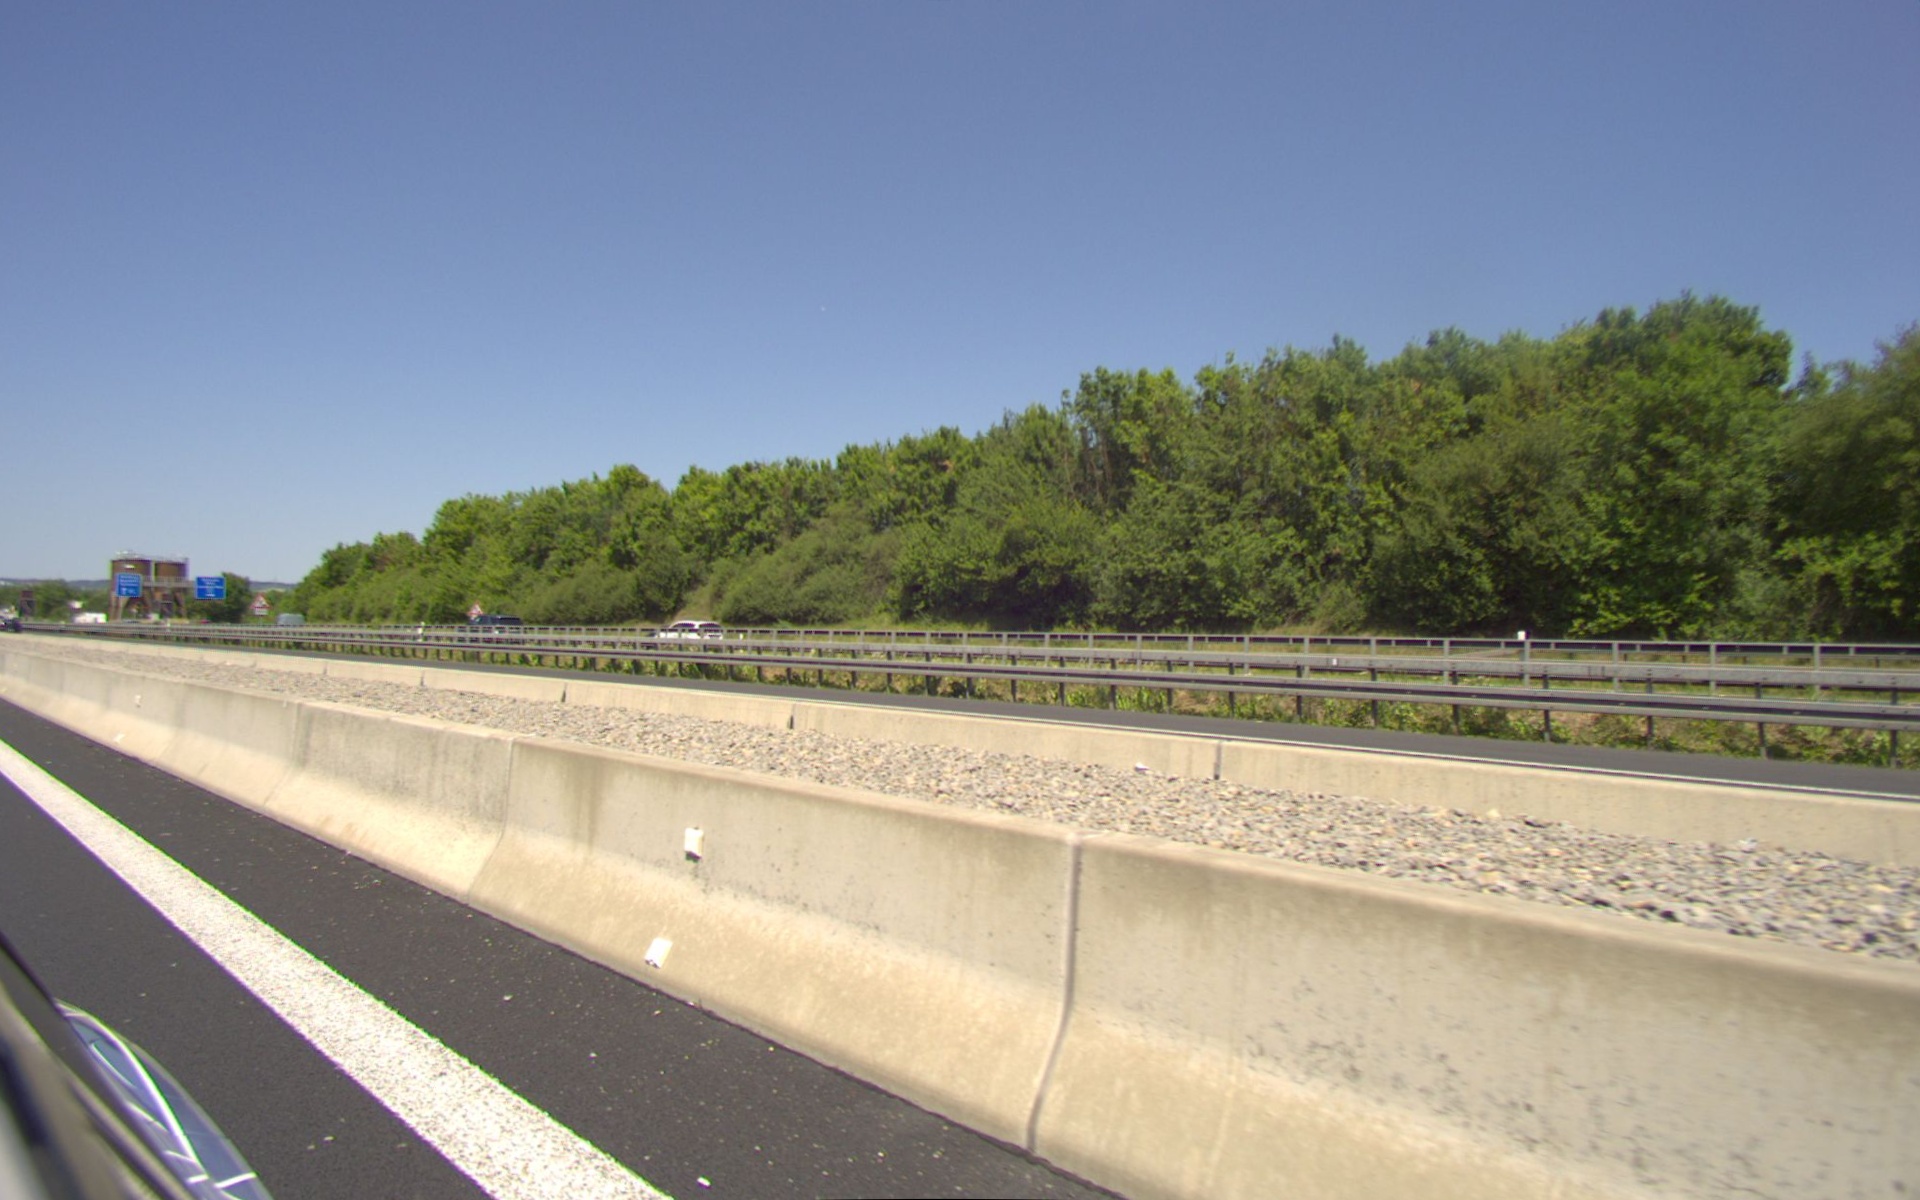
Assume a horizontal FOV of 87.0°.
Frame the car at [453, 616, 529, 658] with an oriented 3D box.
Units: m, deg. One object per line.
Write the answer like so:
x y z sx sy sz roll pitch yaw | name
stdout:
-24.438 1.872 52.631 4.764 2.029 1.925 0 0 43 | car

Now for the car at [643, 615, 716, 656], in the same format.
-15.006 1.866 54.009 4.021 2.029 1.925 -1 0 43 | car

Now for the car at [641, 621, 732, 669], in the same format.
-12.847 2.051 47.413 4.764 2.029 1.925 0 0 43 | car

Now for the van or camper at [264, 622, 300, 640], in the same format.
-72.134 3.304 107.702 5.528 1.812 1.972 -1 -2 43 | van or camper

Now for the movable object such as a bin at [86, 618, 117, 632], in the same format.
-128.694 3.689 151.679 6.775 2.029 2.482 -1 0 40 | movable object such as a bin

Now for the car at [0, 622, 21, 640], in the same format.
-87.790 2.848 92.851 4.155 1.545 1.816 -1 1 39 | car

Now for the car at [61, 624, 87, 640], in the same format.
-116.590 4.173 133.153 5.347 2.029 1.973 -1 0 42 | car
